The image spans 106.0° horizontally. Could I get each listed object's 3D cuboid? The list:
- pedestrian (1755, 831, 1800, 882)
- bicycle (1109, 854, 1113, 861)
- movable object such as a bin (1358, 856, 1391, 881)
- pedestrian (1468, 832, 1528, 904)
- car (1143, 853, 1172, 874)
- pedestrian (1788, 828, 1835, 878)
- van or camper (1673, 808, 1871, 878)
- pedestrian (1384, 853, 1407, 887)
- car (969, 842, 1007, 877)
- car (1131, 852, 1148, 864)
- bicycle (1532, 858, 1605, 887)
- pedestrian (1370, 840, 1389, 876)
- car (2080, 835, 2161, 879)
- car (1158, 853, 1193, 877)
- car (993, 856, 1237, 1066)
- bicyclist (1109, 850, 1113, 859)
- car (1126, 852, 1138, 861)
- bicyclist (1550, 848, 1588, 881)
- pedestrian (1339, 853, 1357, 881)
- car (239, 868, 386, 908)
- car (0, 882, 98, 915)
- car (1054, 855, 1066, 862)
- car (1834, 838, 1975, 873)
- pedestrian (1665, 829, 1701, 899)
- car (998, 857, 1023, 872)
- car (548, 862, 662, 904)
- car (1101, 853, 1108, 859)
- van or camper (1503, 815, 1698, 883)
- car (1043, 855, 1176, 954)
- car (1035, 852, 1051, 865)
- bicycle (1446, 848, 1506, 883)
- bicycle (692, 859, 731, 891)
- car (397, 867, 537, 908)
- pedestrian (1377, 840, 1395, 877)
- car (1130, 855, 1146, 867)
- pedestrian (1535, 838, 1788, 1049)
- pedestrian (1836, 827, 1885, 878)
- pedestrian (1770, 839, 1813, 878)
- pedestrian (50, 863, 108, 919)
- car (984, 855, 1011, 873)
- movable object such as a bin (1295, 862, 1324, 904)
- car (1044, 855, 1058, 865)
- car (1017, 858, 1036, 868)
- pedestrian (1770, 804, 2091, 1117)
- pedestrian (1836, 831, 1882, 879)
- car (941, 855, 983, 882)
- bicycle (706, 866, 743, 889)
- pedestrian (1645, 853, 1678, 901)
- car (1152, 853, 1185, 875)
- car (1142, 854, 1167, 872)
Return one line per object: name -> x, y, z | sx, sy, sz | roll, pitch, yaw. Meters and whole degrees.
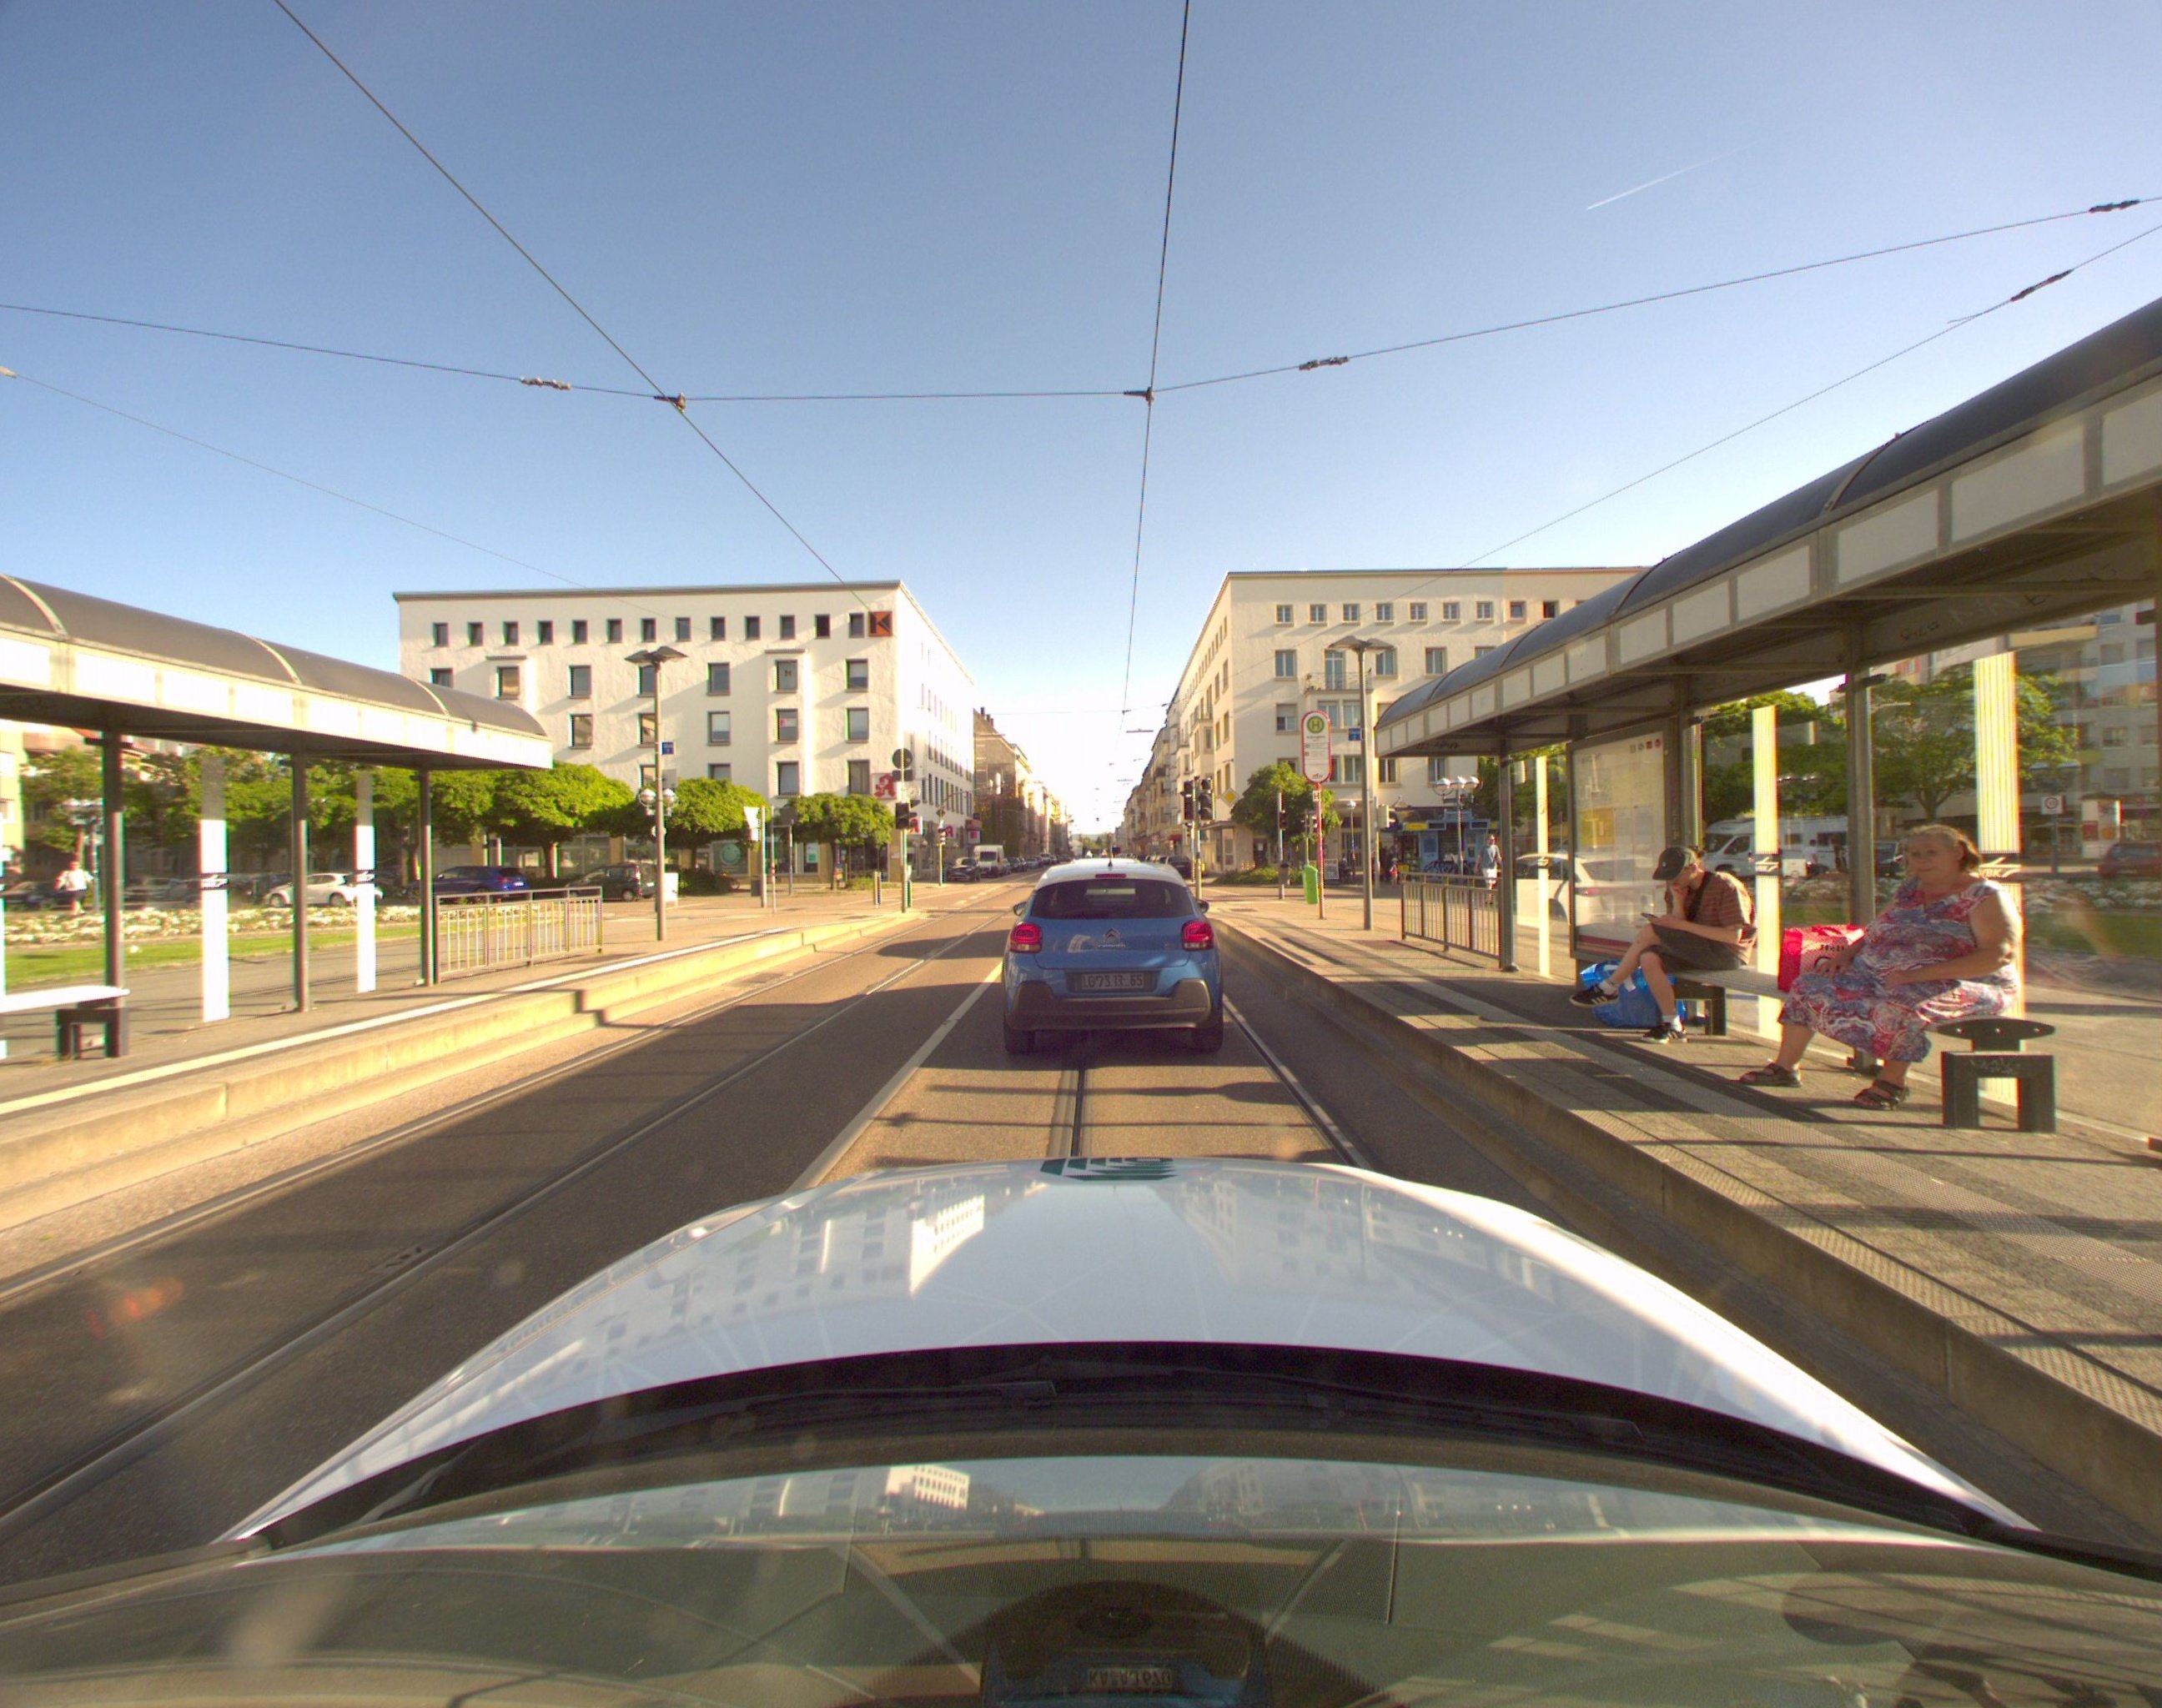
pedestrian -> 23.881, 0.083, 27.926 | 0.897, 1.685, 0.696 | -1, 0, 5
bicycle -> 6.334, 0.681, 172.133 | 0.916, 1.389, 3.133 | -1, 0, 2
movable object such as a bin -> 14.425, 0.699, 40.043 | 1.194, 1.153, 1.218 | -1, 0, 2
pedestrian -> 11.313, 0.380, 22.134 | 0.978, 1.878, 1.128 | -1, -1, -1
car -> 5.881, 0.700, 62.949 | 1.986, 1.501, 4.002 | -1, 0, 2
pedestrian -> 23.802, -0.039, 26.550 | 0.897, 1.585, 0.663 | -1, 0, 5
van or camper -> 30.124, -0.464, 35.702 | 6.375, 2.839, 2.381 | -1, 0, 5
pedestrian -> 14.030, 0.707, 36.345 | 0.727, 1.409, 0.755 | -1, 3, 2
car -> -7.124, 0.422, 63.013 | 2.078, 2.542, 6.206 | 0, 0, 1
car -> 7.272, 0.509, 101.857 | 1.986, 1.464, 4.507 | -1, 0, 2
bicycle -> 18.611, 0.711, 31.122 | 2.304, 1.061, 0.722 | 1, 0, 6
pedestrian -> 15.473, 0.192, 42.217 | 0.781, 1.839, 0.679 | -1, 0, 5
car -> 38.652, 0.066, 29.053 | 3.983, 1.486, 1.995 | -1, 0, -7
car -> 6.043, 0.688, 52.519 | 1.902, 1.464, 4.002 | -1, 0, 2
car -> 0.294, 0.764, 7.692 | 1.721, 1.482, 3.828 | 0, 0, 2
bicyclist -> 6.294, 0.109, 171.724 | 0.807, 2.014, 0.922 | 0, -1, 0
car -> 8.322, 0.451, 133.211 | 1.986, 1.464, 4.002 | -1, 0, 2
bicyclist -> 18.636, 0.383, 31.129 | 0.925, 1.225, 0.956 | 1, 0, 7
pedestrian -> 12.752, 0.604, 38.912 | 0.733, 1.316, 0.631 | -1, 0, 25
car -> -33.513, 1.469, 35.596 | 4.591, 1.606, 1.855 | -1, 0, -1
car -> -52.308, 2.206, 41.052 | 1.925, 1.494, 4.314 | 0, -1, -27
car -> -3.967, 0.870, 154.518 | 1.986, 1.156, 4.002 | -1, 0, 2
car -> 36.669, 0.070, 36.382 | 3.959, 1.511, 2.007 | 0, -1, 13
pedestrian -> 15.283, 0.252, 20.674 | 0.554, 1.745, 0.528 | 0, -1, 12
car -> -6.756, 0.986, 78.473 | 1.987, 1.398, 4.157 | 0, -1, 1
car -> -21.242, 1.273, 36.421 | 3.973, 1.706, 1.826 | -1, 0, 1
car -> 6.238, 0.516, 215.478 | 1.986, 1.772, 4.002 | -1, 0, 2
van or camper -> 22.864, -0.225, 36.072 | 7.093, 2.747, 2.372 | -1, 1, 2
car -> 0.495, 0.761, 14.590 | 1.977, 1.464, 4.817 | 0, 0, 2
car -> -5.884, 0.715, 127.067 | 1.997, 2.014, 4.694 | 0, -1, 4
bicycle -> 17.722, 0.522, 36.571 | 2.376, 1.531, 0.726 | 1, 0, 0
bicycle -> -19.829, 1.109, 43.738 | 0.614, 1.607, 2.625 | -1, 0, 6
car -> -27.182, 1.449, 36.161 | 4.591, 1.662, 1.999 | -1, 0, -1
pedestrian -> 15.456, 0.213, 41.280 | 0.650, 1.839, 0.660 | -1, 0, 5
car -> 7.457, 0.929, 106.302 | 1.985, 1.464, 4.004 | -1, 0, 4
pedestrian -> 3.725, 0.537, 5.329 | 0.995, 1.225, 0.923 | 2, -1, 1
pedestrian -> 25.123, -0.051, 26.271 | 0.897, 1.585, 0.663 | -1, 0, 5
pedestrian -> 23.792, 0.155, 27.276 | 0.897, 1.279, 0.605 | -1, 0, 6
pedestrian -> -33.272, 1.216, 27.041 | 0.938, 1.817, 0.872 | -1, 0, 13
car -> -7.109, 0.880, 69.815 | 1.881, 1.496, 3.562 | 0, -1, 1
movable object such as a bin -> 4.356, 0.549, 15.540 | 0.447, 0.786, 0.489 | -1, 0, 4
car -> -5.101, 1.009, 137.131 | 1.946, 1.552, 3.942 | 0, -1, 4
car -> -6.906, 1.132, 103.557 | 1.987, 1.325, 3.923 | 0, -1, 1
pedestrian -> 3.970, 0.463, 3.864 | 0.855, 1.334, 0.623 | 2, -1, 1
pedestrian -> 26.603, 0.034, 27.852 | 0.897, 1.585, 0.663 | -1, 0, 5
car -> -7.654, 0.920, 52.748 | 1.987, 1.569, 4.403 | 2, -1, 1
bicycle -> -19.106, 1.248, 43.696 | 0.615, 1.190, 2.624 | -1, 0, 5
pedestrian -> 14.492, 0.567, 20.326 | 0.466, 1.169, 0.559 | 0, -1, 10
car -> 6.118, 0.680, 57.374 | 1.986, 1.464, 4.002 | -1, 0, 2
car -> 6.561, 0.794, 72.953 | 1.986, 1.464, 4.002 | -1, 0, 2
